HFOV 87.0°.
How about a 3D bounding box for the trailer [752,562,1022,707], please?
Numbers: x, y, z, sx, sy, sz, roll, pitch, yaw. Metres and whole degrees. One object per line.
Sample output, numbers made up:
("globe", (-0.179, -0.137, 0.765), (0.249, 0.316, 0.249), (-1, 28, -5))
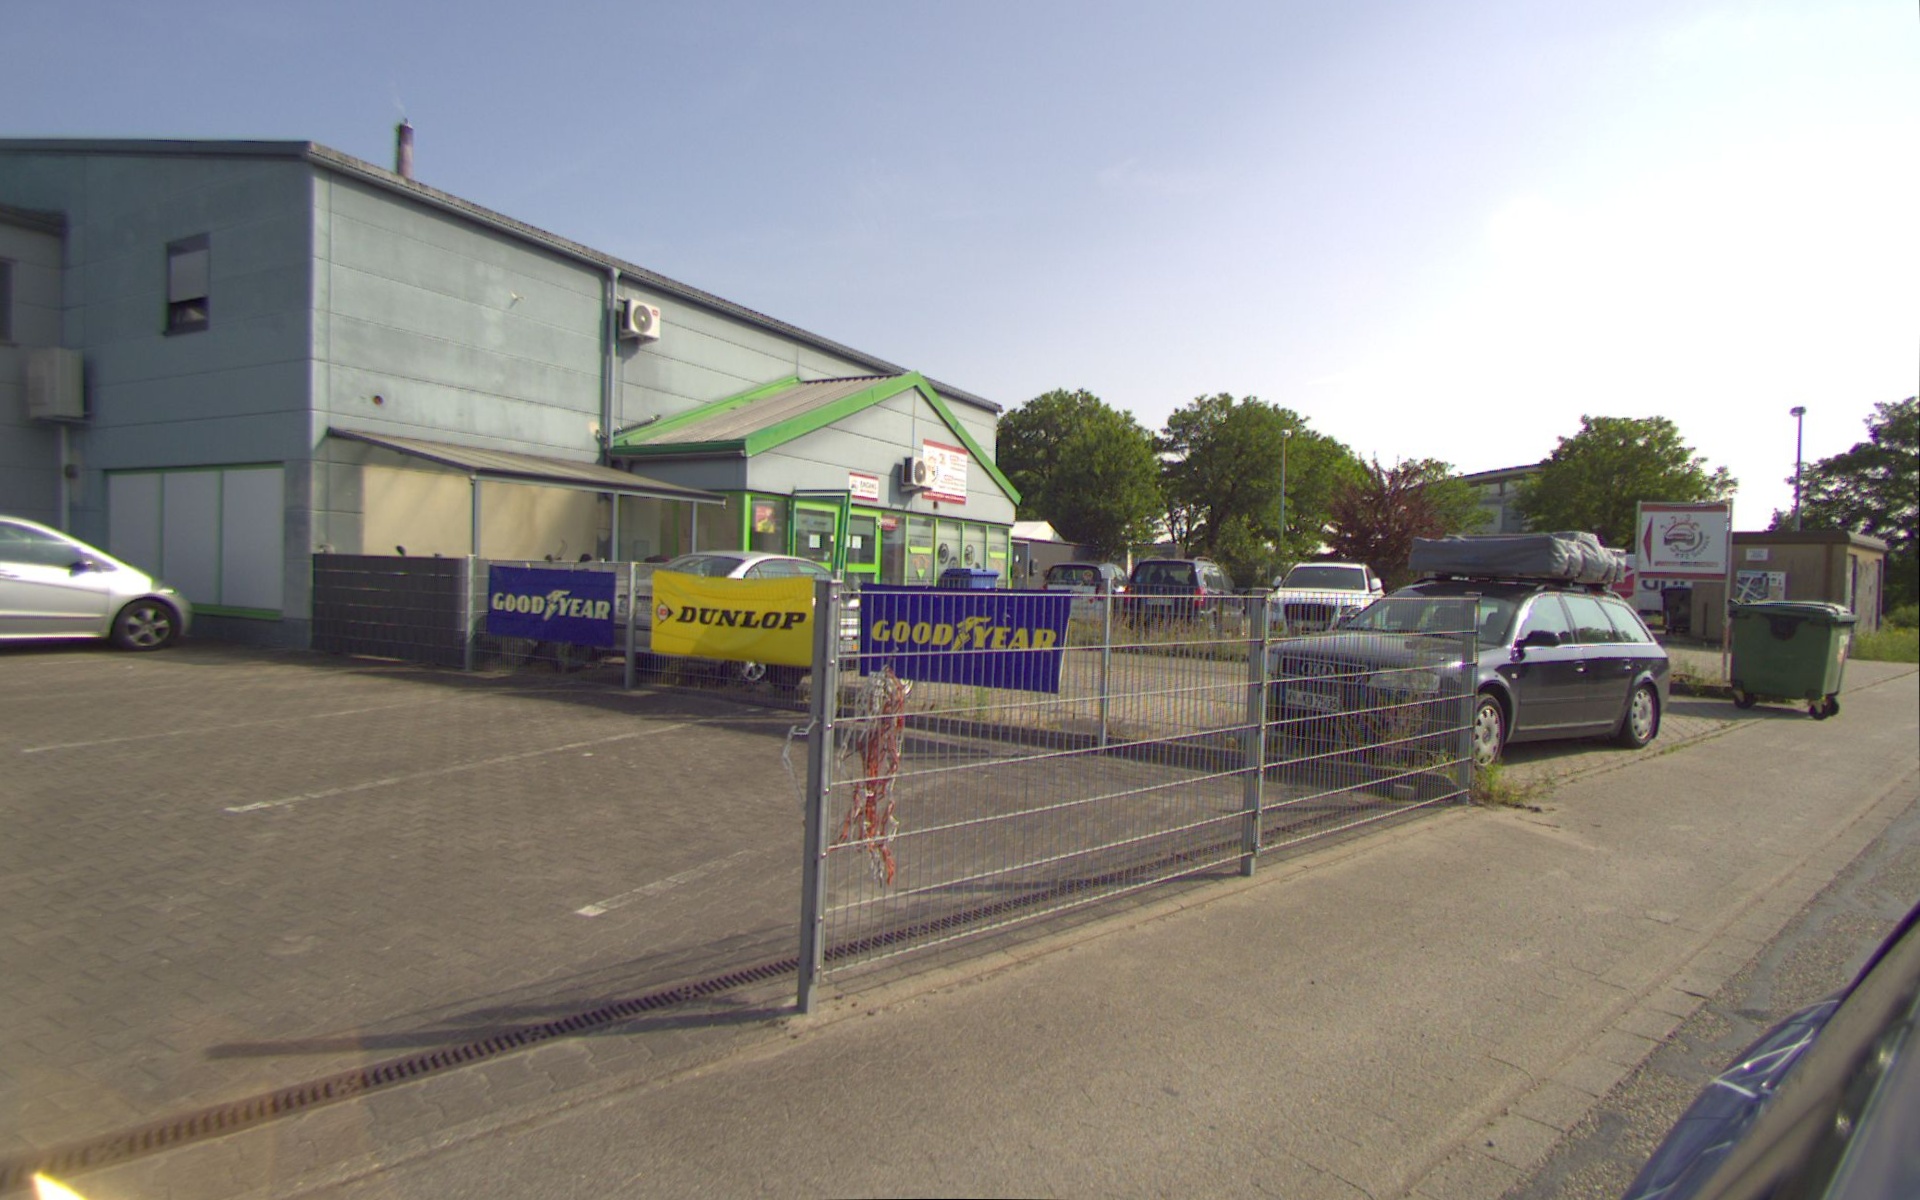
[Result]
("trailer", (-0.626, 0.274, 10.438), (1.480, 1.264, 2.949), (1, 1, 27))

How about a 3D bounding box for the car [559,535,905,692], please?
("car", (-2.429, 0.068, 12.002), (1.628, 1.484, 4.422), (2, 2, 25))

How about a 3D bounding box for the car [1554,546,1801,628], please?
("car", (24.281, -0.467, 34.712), (6.694, 2.571, 2.255), (1, 1, 32))

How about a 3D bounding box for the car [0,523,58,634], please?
("car", (-13.541, -0.281, 12.189), (1.667, 1.419, 3.675), (2, 2, 28))

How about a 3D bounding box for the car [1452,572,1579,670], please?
("car", (9.729, 0.278, 17.998), (1.676, 1.484, 4.225), (2, 2, 25))

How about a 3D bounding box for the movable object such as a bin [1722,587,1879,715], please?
("movable object such as a bin", (10.219, 0.573, 12.306), (1.478, 1.369, 1.084), (0, 4, -38))

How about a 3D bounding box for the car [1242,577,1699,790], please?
("car", (4.524, 0.553, 8.718), (4.310, 1.385, 1.679), (0, 2, -36))

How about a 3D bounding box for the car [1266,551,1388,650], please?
("car", (6.894, -0.049, 18.769), (1.703, 1.591, 4.097), (2, 2, 25))

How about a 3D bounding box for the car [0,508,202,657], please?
("car", (-10.915, -0.221, 11.168), (1.624, 1.587, 3.768), (2, 2, 28))

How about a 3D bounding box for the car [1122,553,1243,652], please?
("car", (4.436, 0.004, 19.876), (1.627, 1.741, 3.186), (2, 2, 25))
